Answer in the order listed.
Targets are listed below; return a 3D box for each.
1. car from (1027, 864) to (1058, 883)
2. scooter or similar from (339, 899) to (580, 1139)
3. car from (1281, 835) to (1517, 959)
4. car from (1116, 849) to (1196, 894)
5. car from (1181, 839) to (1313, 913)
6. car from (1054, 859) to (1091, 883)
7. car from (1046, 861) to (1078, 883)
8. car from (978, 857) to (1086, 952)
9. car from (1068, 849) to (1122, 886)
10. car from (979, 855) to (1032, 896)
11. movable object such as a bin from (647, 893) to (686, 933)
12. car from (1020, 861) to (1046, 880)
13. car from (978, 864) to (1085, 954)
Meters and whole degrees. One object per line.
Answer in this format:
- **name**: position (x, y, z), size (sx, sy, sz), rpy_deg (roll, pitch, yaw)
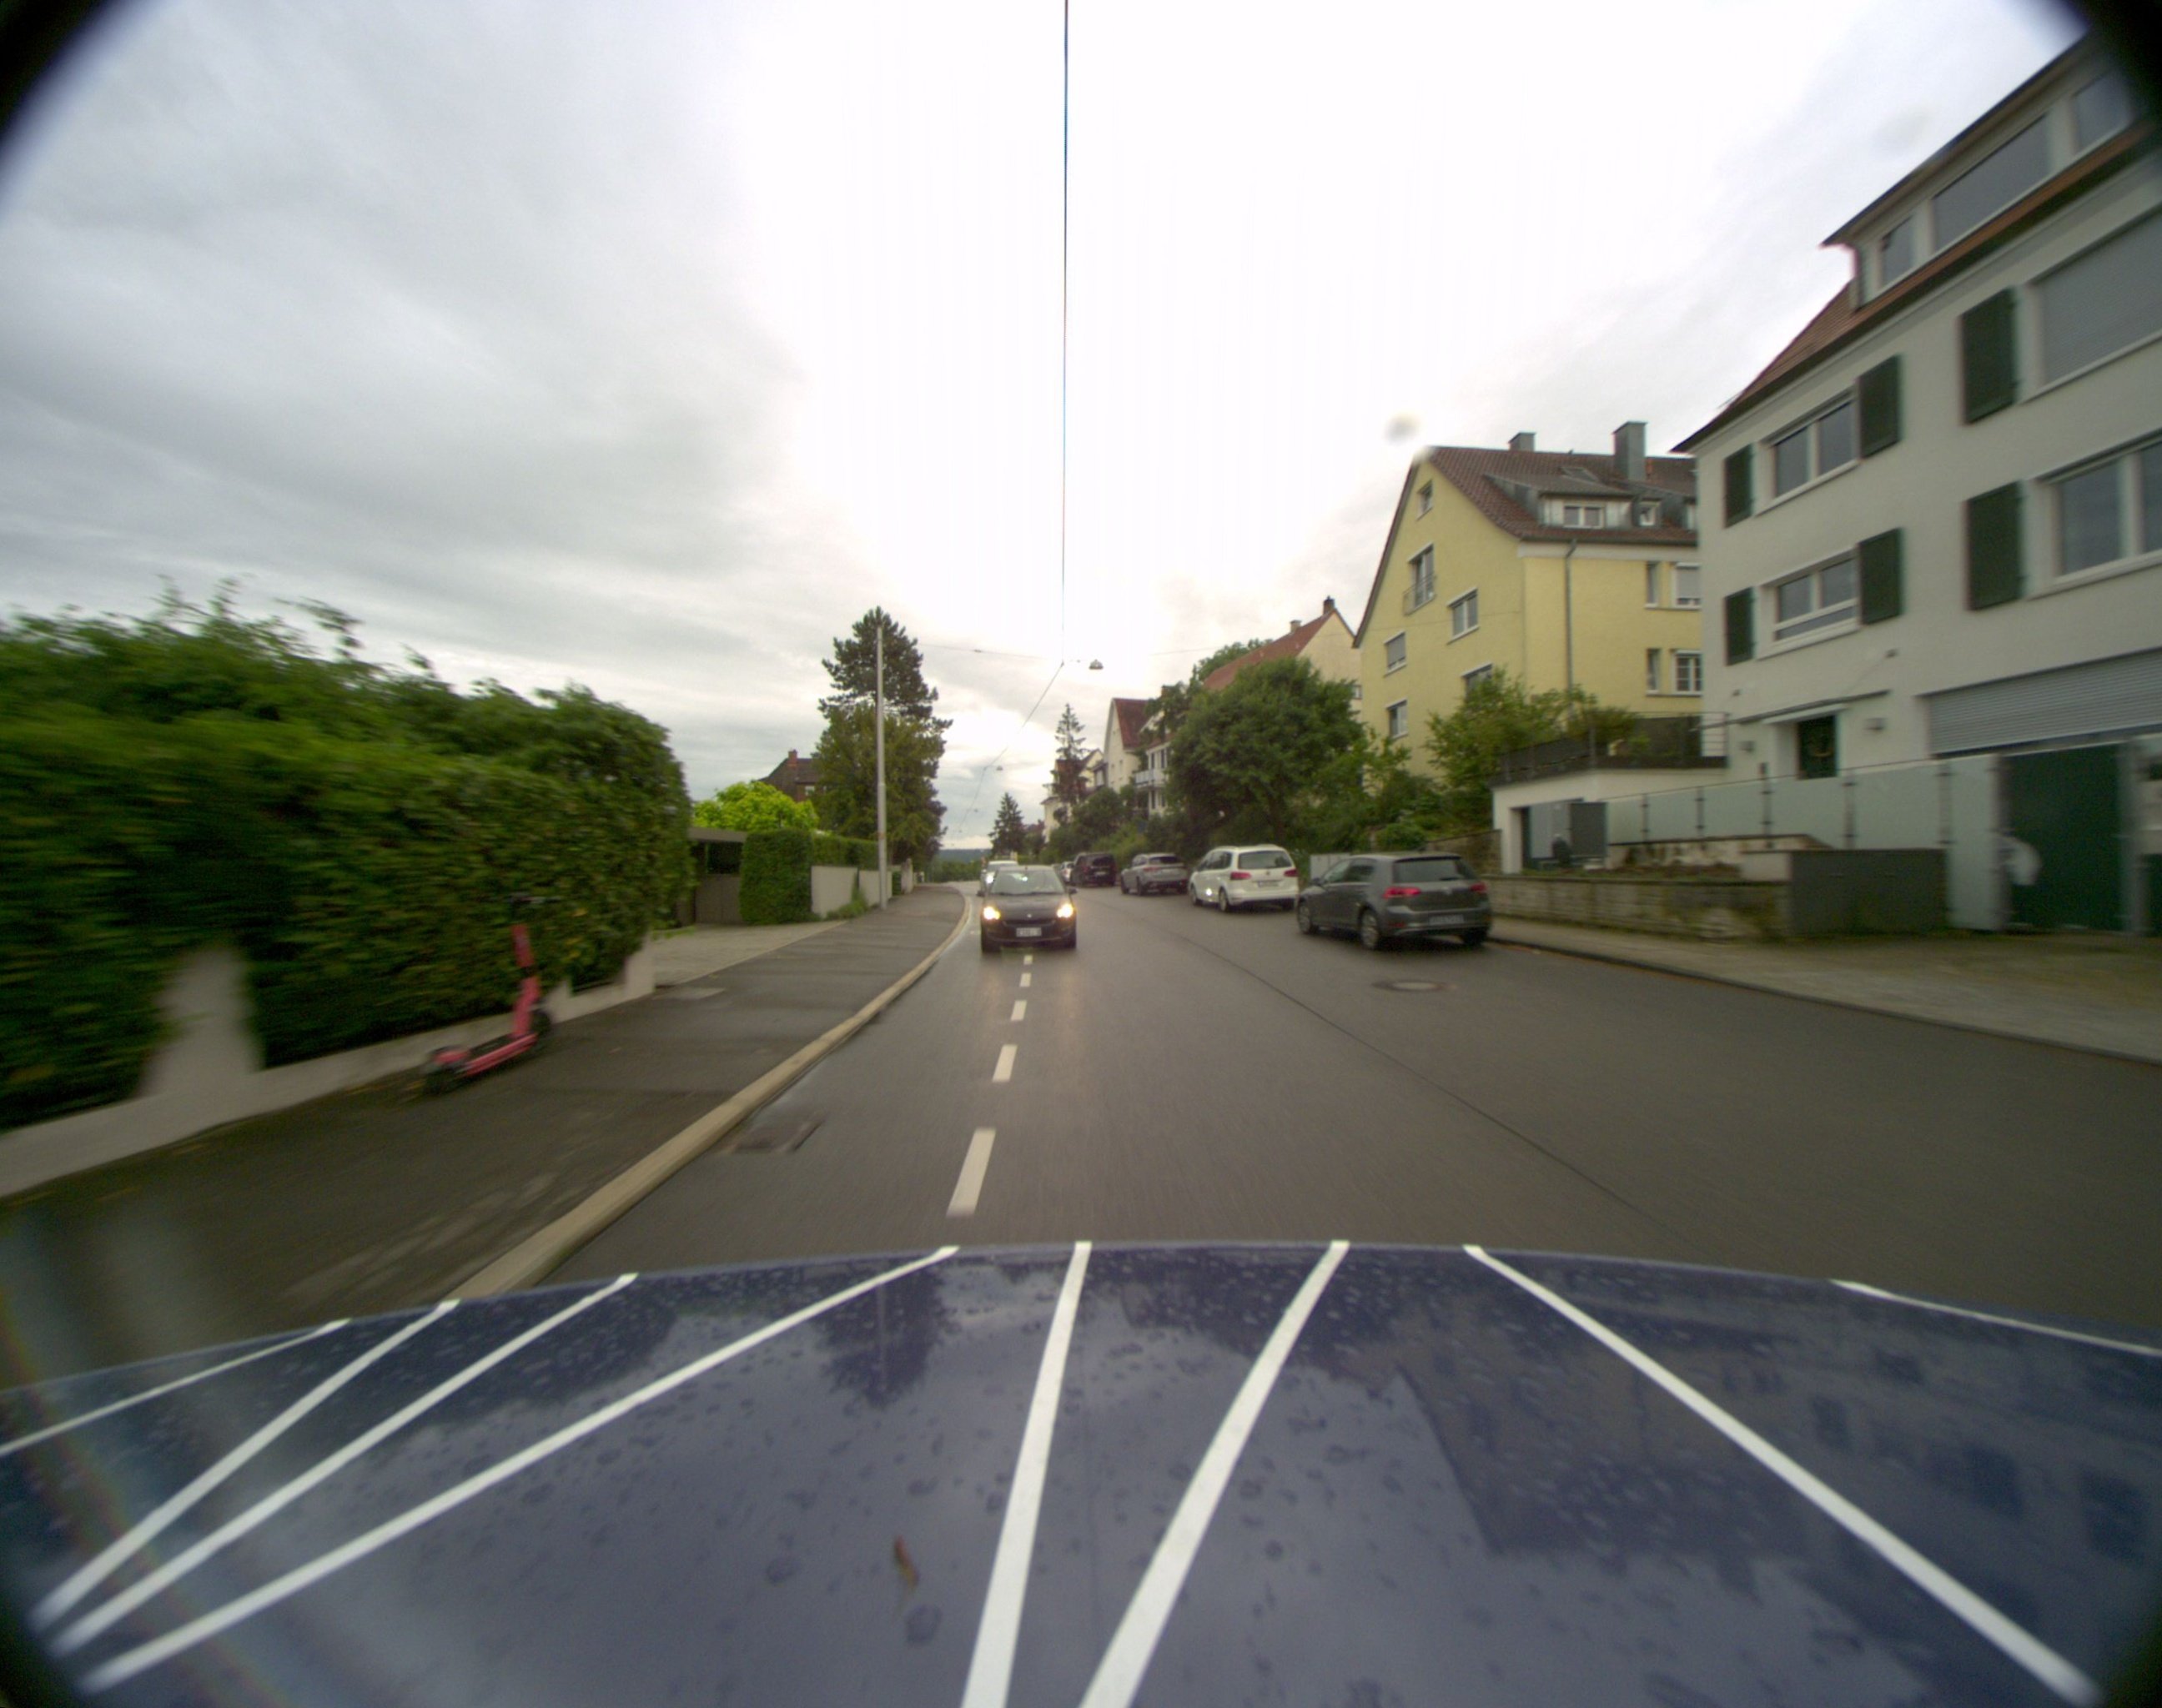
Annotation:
- **car**: position (-3.215, 1.645, 62.693), size (1.762, 1.438, 4.413), rpy_deg (-2, -3, -12)
- **scooter or similar**: position (-4.094, 1.004, 5.151), size (0.451, 1.300, 1.481), rpy_deg (0, 0, -2)
- **car**: position (4.928, 0.619, 12.515), size (1.797, 1.571, 4.137), rpy_deg (-4, 0, -4)
- **car**: position (2.968, 0.694, 31.226), size (2.000, 1.571, 4.758), rpy_deg (-4, 0, -9)
- **car**: position (4.421, 0.575, 21.070), size (2.000, 1.692, 4.736), rpy_deg (-4, 0, -7)
- **car**: position (-0.584, 1.118, 49.907), size (1.700, 1.438, 3.810), rpy_deg (-2, -1, -11)
- **car**: position (-1.428, 1.306, 55.210), size (1.652, 1.438, 3.626), rpy_deg (-2, -2, -12)
- **car**: position (-0.884, 0.933, 14.548), size (1.696, 1.481, 3.941), rpy_deg (-3, -3, -2)
- **car**: position (0.731, 0.791, 43.736), size (2.000, 1.867, 5.352), rpy_deg (-3, -1, -11)
- **car**: position (-3.568, 0.988, 35.351), size (1.868, 1.704, 3.996), rpy_deg (-2, -1, -13)
- **movable object such as a bin**: position (-9.977, 1.417, 18.302), size (0.575, 0.931, 0.590), rpy_deg (-2, -2, 3)
- **car**: position (-4.288, 1.493, 67.683), size (1.703, 1.532, 3.810), rpy_deg (-2, -1, -12)
- **car**: position (-0.896, 0.944, 14.570), size (1.711, 1.414, 4.000), rpy_deg (-2, -1, -2)
